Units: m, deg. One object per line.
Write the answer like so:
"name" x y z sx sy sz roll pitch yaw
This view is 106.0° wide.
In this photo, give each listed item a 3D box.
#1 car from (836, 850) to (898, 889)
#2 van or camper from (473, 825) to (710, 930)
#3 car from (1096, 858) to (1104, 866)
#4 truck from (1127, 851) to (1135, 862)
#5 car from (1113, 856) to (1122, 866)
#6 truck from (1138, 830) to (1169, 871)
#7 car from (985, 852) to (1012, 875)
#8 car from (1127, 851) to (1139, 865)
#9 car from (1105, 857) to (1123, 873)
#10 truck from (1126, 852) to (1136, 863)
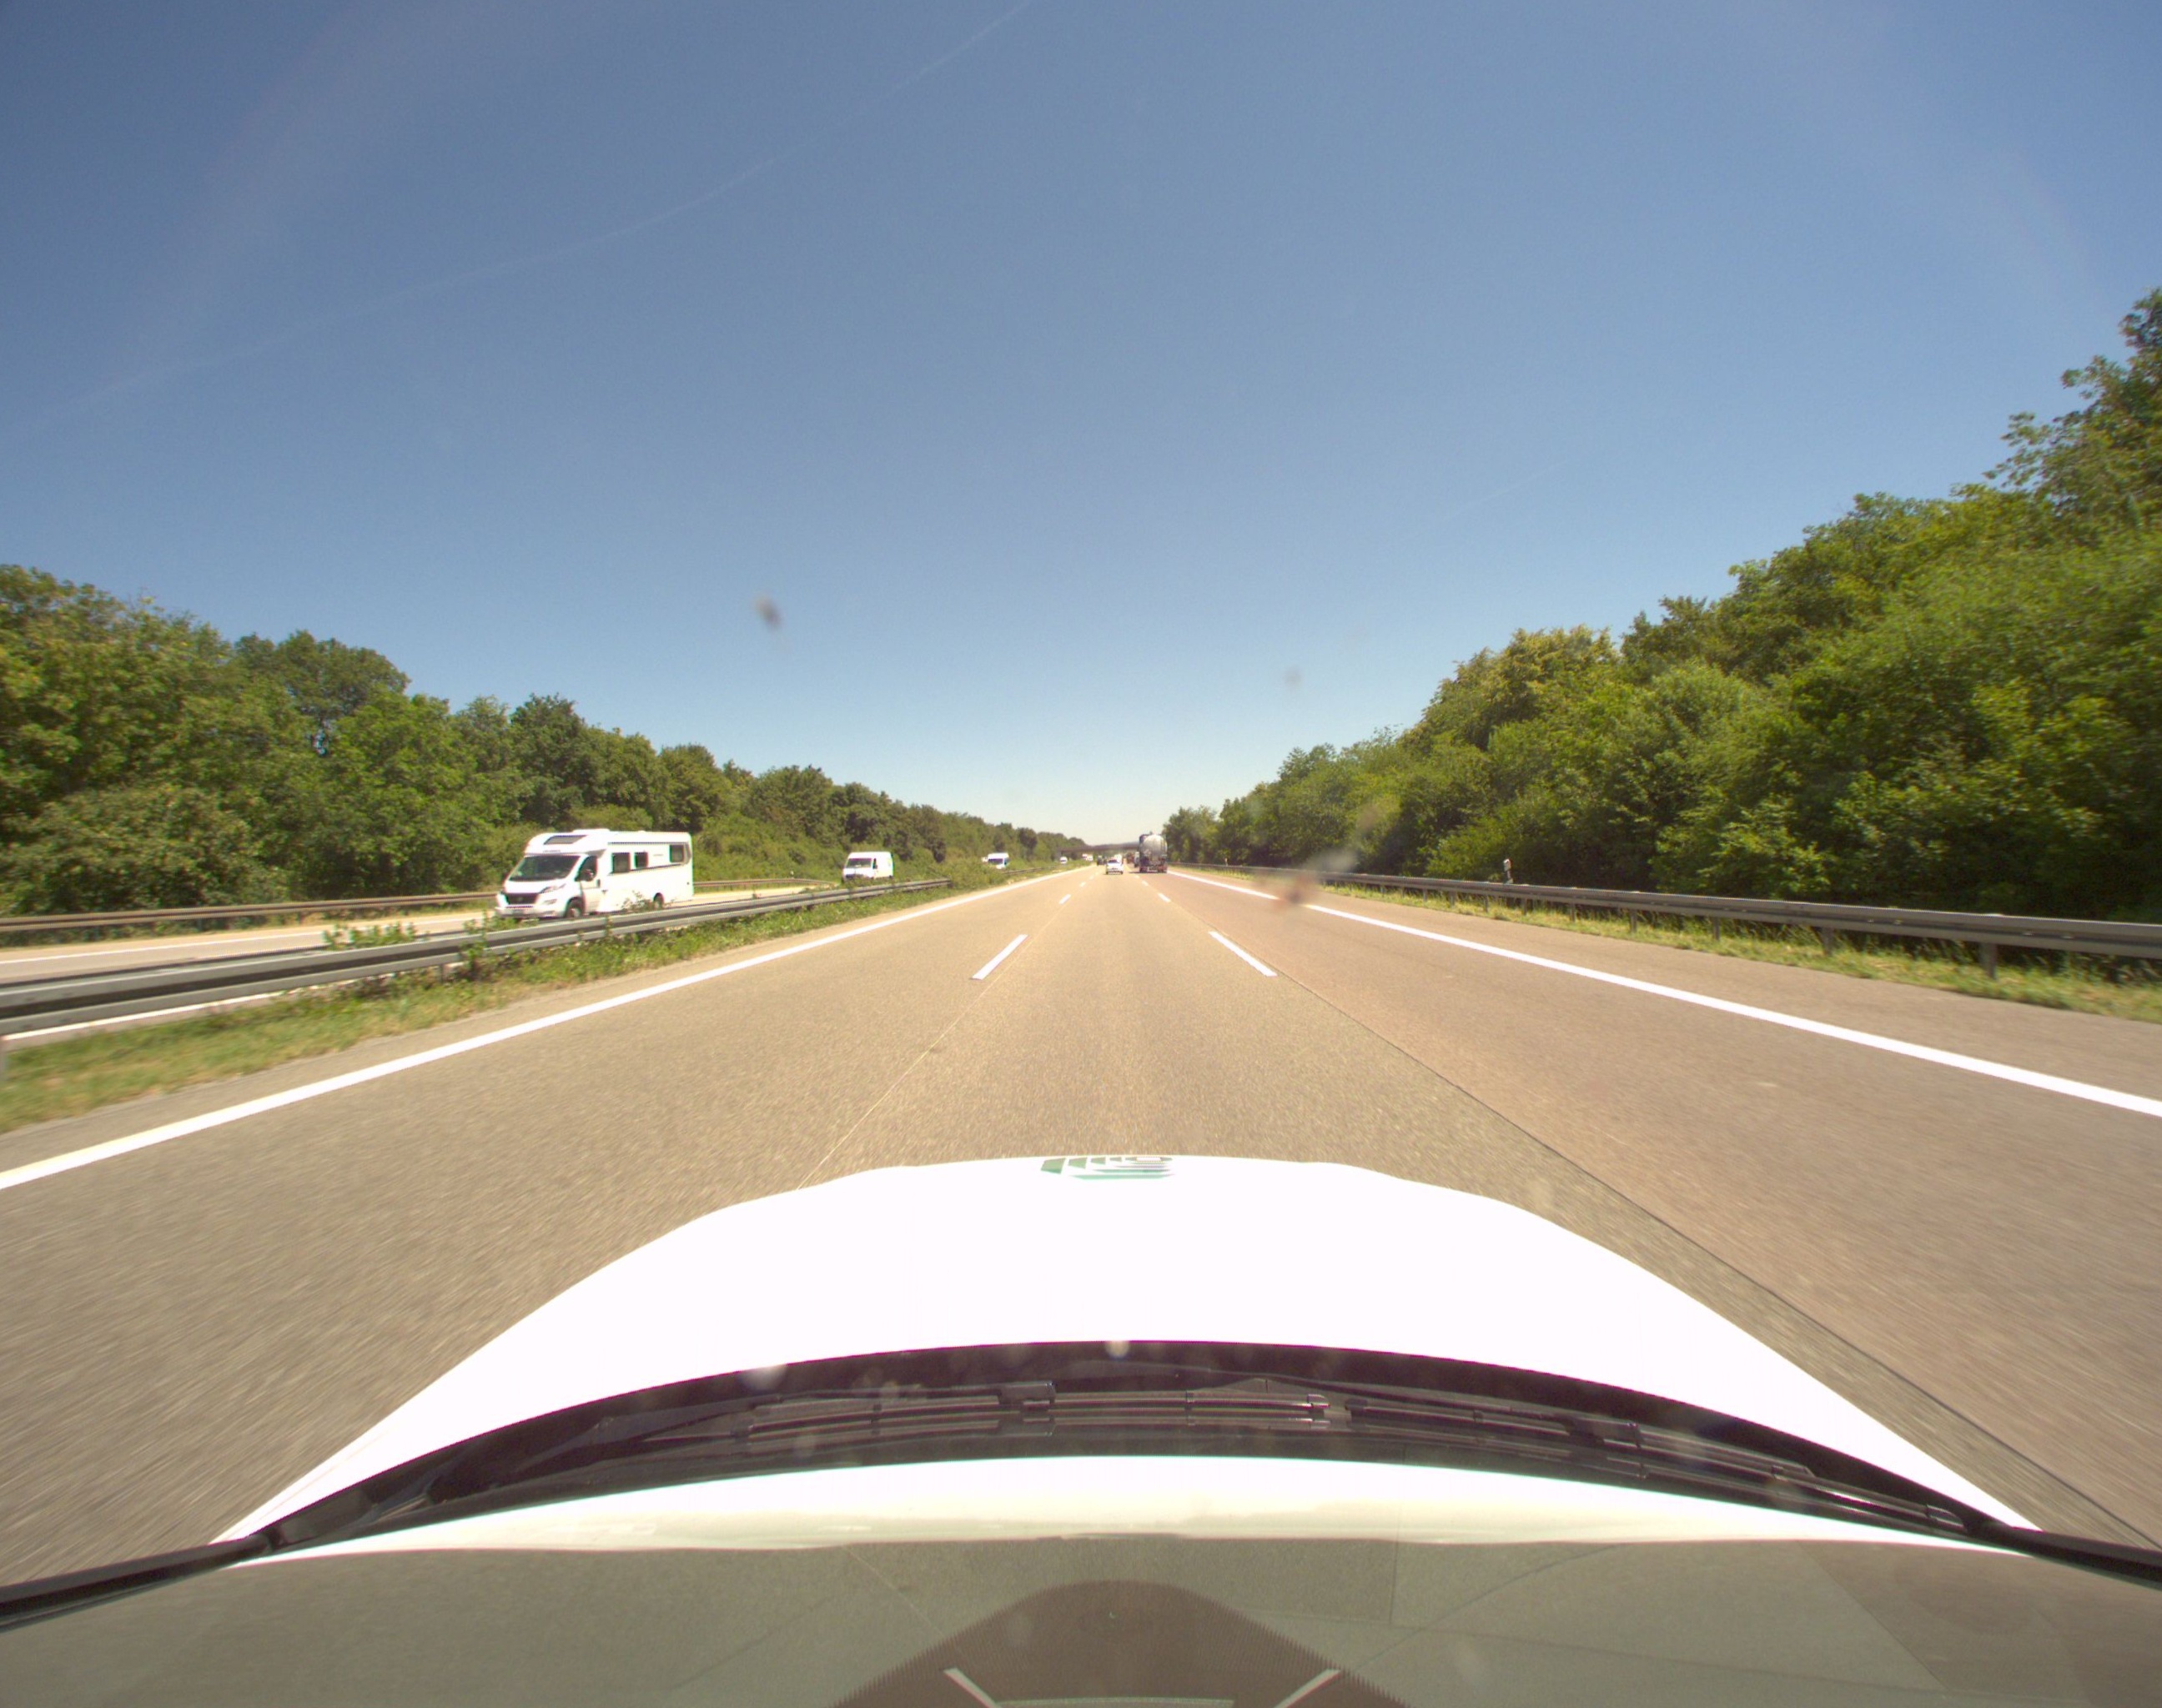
"car" -14.806 1.029 56.771 2.205 2.441 6.424 -2 0 3
"van or camper" -15.429 0.663 26.645 2.503 2.849 8.032 -1 0 3
"car" 4.606 1.959 198.050 1.986 1.725 4.789 -1 0 2
"truck" 15.315 0.661 249.381 2.281 3.240 6.347 -1 -1 2
"car" 8.974 1.595 198.771 1.985 2.343 4.391 -1 0 3
"truck" 7.644 -0.370 86.840 2.728 4.052 10.460 -1 0 2
"car" -9.158 1.065 91.097 1.985 2.400 6.170 -2 0 3
"car" 8.823 0.691 138.626 1.986 2.225 4.789 -1 0 2
"car" 3.252 1.078 80.583 1.621 1.479 4.002 -1 0 2
"truck" 14.683 1.003 239.676 2.903 3.240 6.347 -1 -1 2
